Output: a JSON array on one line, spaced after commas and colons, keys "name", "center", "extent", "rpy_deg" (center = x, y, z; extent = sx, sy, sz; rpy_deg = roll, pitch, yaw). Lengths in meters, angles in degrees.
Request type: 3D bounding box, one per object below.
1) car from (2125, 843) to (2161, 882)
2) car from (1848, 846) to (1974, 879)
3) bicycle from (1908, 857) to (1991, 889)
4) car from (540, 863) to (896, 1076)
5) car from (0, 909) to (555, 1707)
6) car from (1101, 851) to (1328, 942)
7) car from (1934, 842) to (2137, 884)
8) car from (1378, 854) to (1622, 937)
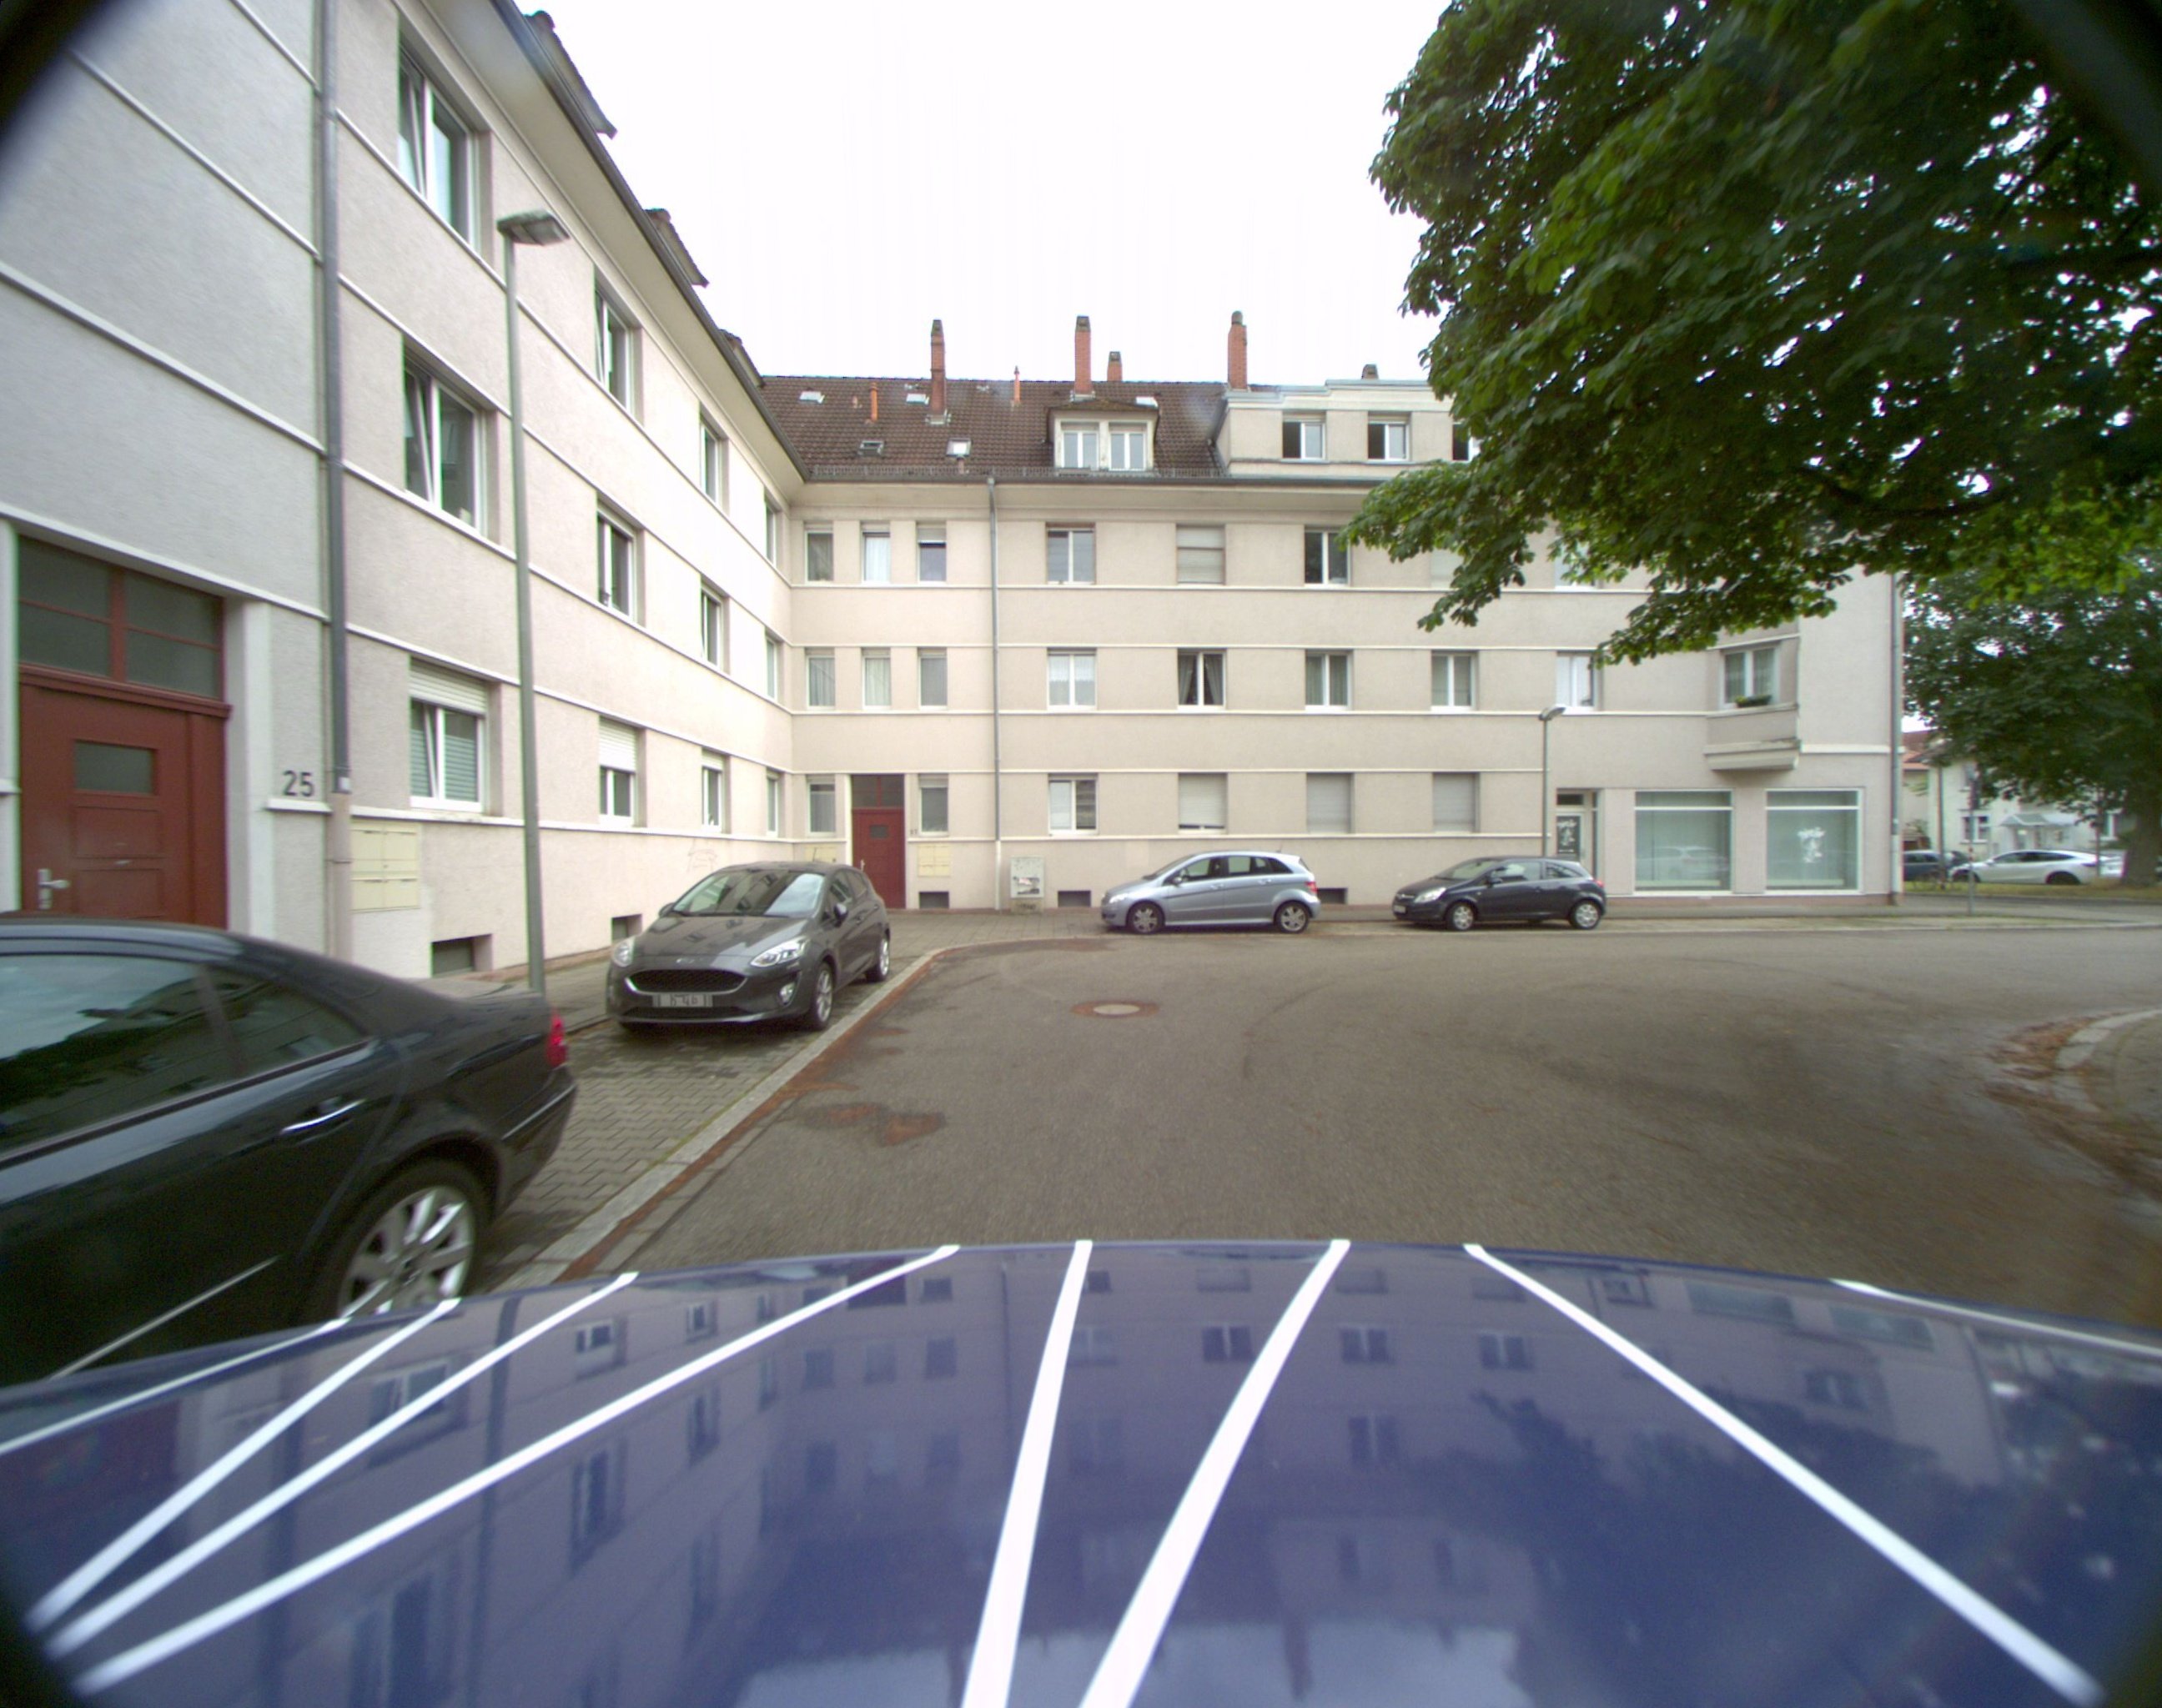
[{"name": "car", "center": [44.180, 0.331, 29.394], "extent": [1.704, 1.557, 4.209], "rpy_deg": [-2, 0, -3]}, {"name": "car", "center": [43.048, 0.406, 39.558], "extent": [1.705, 1.557, 4.207], "rpy_deg": [-2, 0, -8]}, {"name": "bicycle", "center": [30.565, 0.649, 26.785], "extent": [0.668, 1.060, 1.884], "rpy_deg": [-1, 0, -5]}, {"name": "car", "center": [-3.129, 0.860, 7.568], "extent": [1.762, 1.516, 4.078], "rpy_deg": [0, 0, -3]}, {"name": "car", "center": [-2.855, 0.907, 0.530], "extent": [1.750, 1.412, 4.948], "rpy_deg": [0, 0, -3]}, {"name": "car", "center": [2.515, 0.795, 15.070], "extent": [4.196, 1.618, 1.763], "rpy_deg": [-1, 0, 1]}, {"name": "car", "center": [38.654, 0.338, 31.017], "extent": [1.903, 1.557, 4.880], "rpy_deg": [-1, 0, -7]}, {"name": "car", "center": [8.322, 0.784, 15.326], "extent": [3.934, 1.481, 1.762], "rpy_deg": [-1, 0, -2]}]
